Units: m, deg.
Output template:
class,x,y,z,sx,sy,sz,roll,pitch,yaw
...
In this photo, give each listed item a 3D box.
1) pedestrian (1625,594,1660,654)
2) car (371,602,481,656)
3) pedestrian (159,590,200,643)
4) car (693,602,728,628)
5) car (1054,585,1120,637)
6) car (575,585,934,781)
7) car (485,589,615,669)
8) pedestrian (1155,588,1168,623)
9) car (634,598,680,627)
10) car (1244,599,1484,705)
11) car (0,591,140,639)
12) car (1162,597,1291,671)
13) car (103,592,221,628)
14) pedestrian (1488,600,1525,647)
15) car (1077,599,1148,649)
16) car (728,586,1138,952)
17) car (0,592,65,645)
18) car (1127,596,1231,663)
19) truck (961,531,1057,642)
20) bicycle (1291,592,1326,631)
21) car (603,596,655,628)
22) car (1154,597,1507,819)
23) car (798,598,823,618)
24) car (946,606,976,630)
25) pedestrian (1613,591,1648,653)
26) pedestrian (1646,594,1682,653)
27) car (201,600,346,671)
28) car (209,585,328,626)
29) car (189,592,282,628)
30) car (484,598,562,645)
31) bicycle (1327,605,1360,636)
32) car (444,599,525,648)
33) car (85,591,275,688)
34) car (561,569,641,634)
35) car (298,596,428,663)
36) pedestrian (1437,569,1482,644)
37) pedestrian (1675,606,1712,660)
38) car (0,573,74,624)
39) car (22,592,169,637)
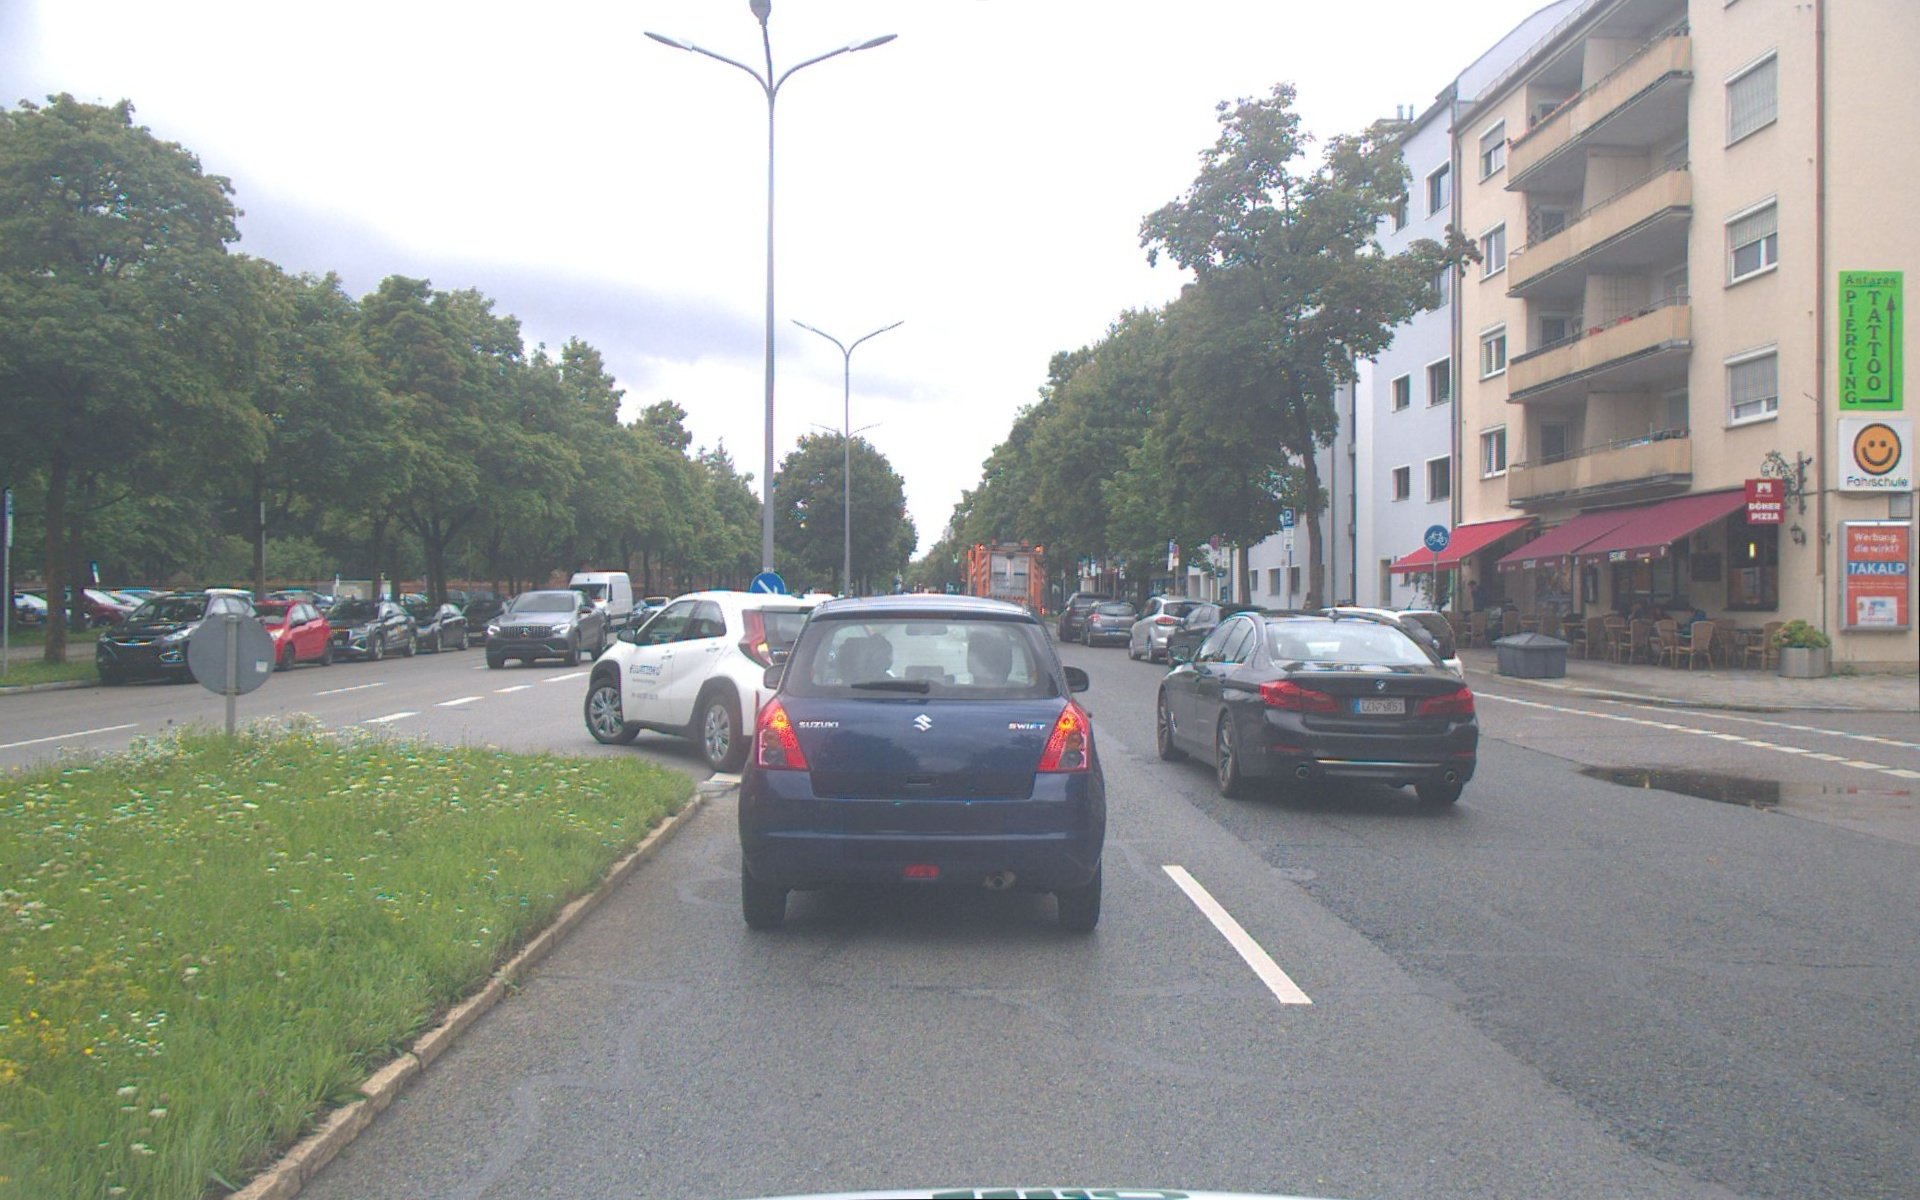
class,x,y,z,sx,sy,sz,roll,pitch,yaw
pedestrian,14.658,0.514,35.528,0.527,1.290,0.486,0,0,-3
car,-15.224,0.798,47.372,1.784,1.434,4.000,-2,0,1
pedestrian,-22.716,0.487,48.126,0.778,1.521,0.856,0,0,-1
car,-16.270,0.955,108.049,1.849,1.564,4.312,-3,0,-3
car,4.463,0.381,58.756,1.793,1.776,4.506,0,0,-3
car,-2.012,0.659,15.345,1.807,1.580,3.674,0,0,-36
car,-8.862,0.576,36.112,1.784,1.617,4.500,0,1,-1
pedestrian,10.295,0.297,84.523,0.489,1.763,0.732,-1,0,-1
car,-16.185,0.665,88.498,1.820,1.517,4.139,0,-1,-3
car,6.234,0.757,25.779,1.674,1.516,3.390,0,0,-37
car,-28.221,0.462,51.966,3.911,1.467,1.997,0,0,-7
car,5.696,0.694,35.774,1.794,1.499,3.883,0,0,-6
car,-32.766,0.398,67.997,3.911,1.467,1.997,0,0,-7
pedestrian,14.065,0.597,42.547,0.728,1.184,0.646,0,0,-2
car,4.887,0.739,53.550,1.793,1.549,3.769,0,0,-3
car,-0.135,0.705,8.950,1.717,1.531,3.999,0,0,-1
car,-27.749,0.503,46.504,4.053,1.467,1.998,0,0,-4
car,5.377,0.683,41.066,1.793,1.549,4.521,0,0,-3
truck,1.623,-0.473,61.171,2.979,3.619,13.672,0,0,-1
bicycle,13.304,0.441,63.123,0.688,1.432,2.592,-2,0,-1
car,-16.146,0.625,80.862,1.820,1.517,4.249,0,-1,-3
car,2.901,0.765,14.053,1.785,1.503,4.689,2,0,-2
car,-11.896,0.634,131.798,1.779,1.473,4.780,-1,0,-2
car,0.053,1.185,108.802,1.793,1.549,3.769,0,0,-3
pedestrian,14.779,0.485,36.463,0.527,1.362,0.552,0,0,-3
pedestrian,14.696,0.490,34.543,0.527,1.235,0.487,0,0,-2
car,-15.269,0.790,36.997,1.785,1.505,3.807,0,-1,-3
car,-27.286,0.212,65.325,3.905,1.598,1.814,0,0,0
car,-41.488,0.564,94.735,4.415,2.070,1.999,0,0,-2
car,-15.526,0.771,59.016,1.785,1.554,4.296,-2,-1,-3
bicycle,13.565,0.730,58.568,0.609,1.065,2.195,0,0,-1
car,-15.251,0.722,53.218,1.786,1.473,3.995,-1,0,-6
car,-14.866,0.737,31.801,1.785,1.729,4.237,0,-1,-3
car,-15.863,0.027,73.557,2.096,2.690,7.103,-1,1,-1
car,-15.041,0.712,41.898,1.784,1.627,4.112,0,0,0
pedestrian,13.223,0.162,43.791,0.854,1.963,0.757,0,0,-18
pedestrian,14.627,0.651,32.979,0.527,1.072,0.487,0,0,-2
car,-28.712,-0.049,48.953,3.911,1.467,1.997,0,0,-7
car,-29.182,0.485,55.921,3.911,1.467,1.997,0,0,-7
